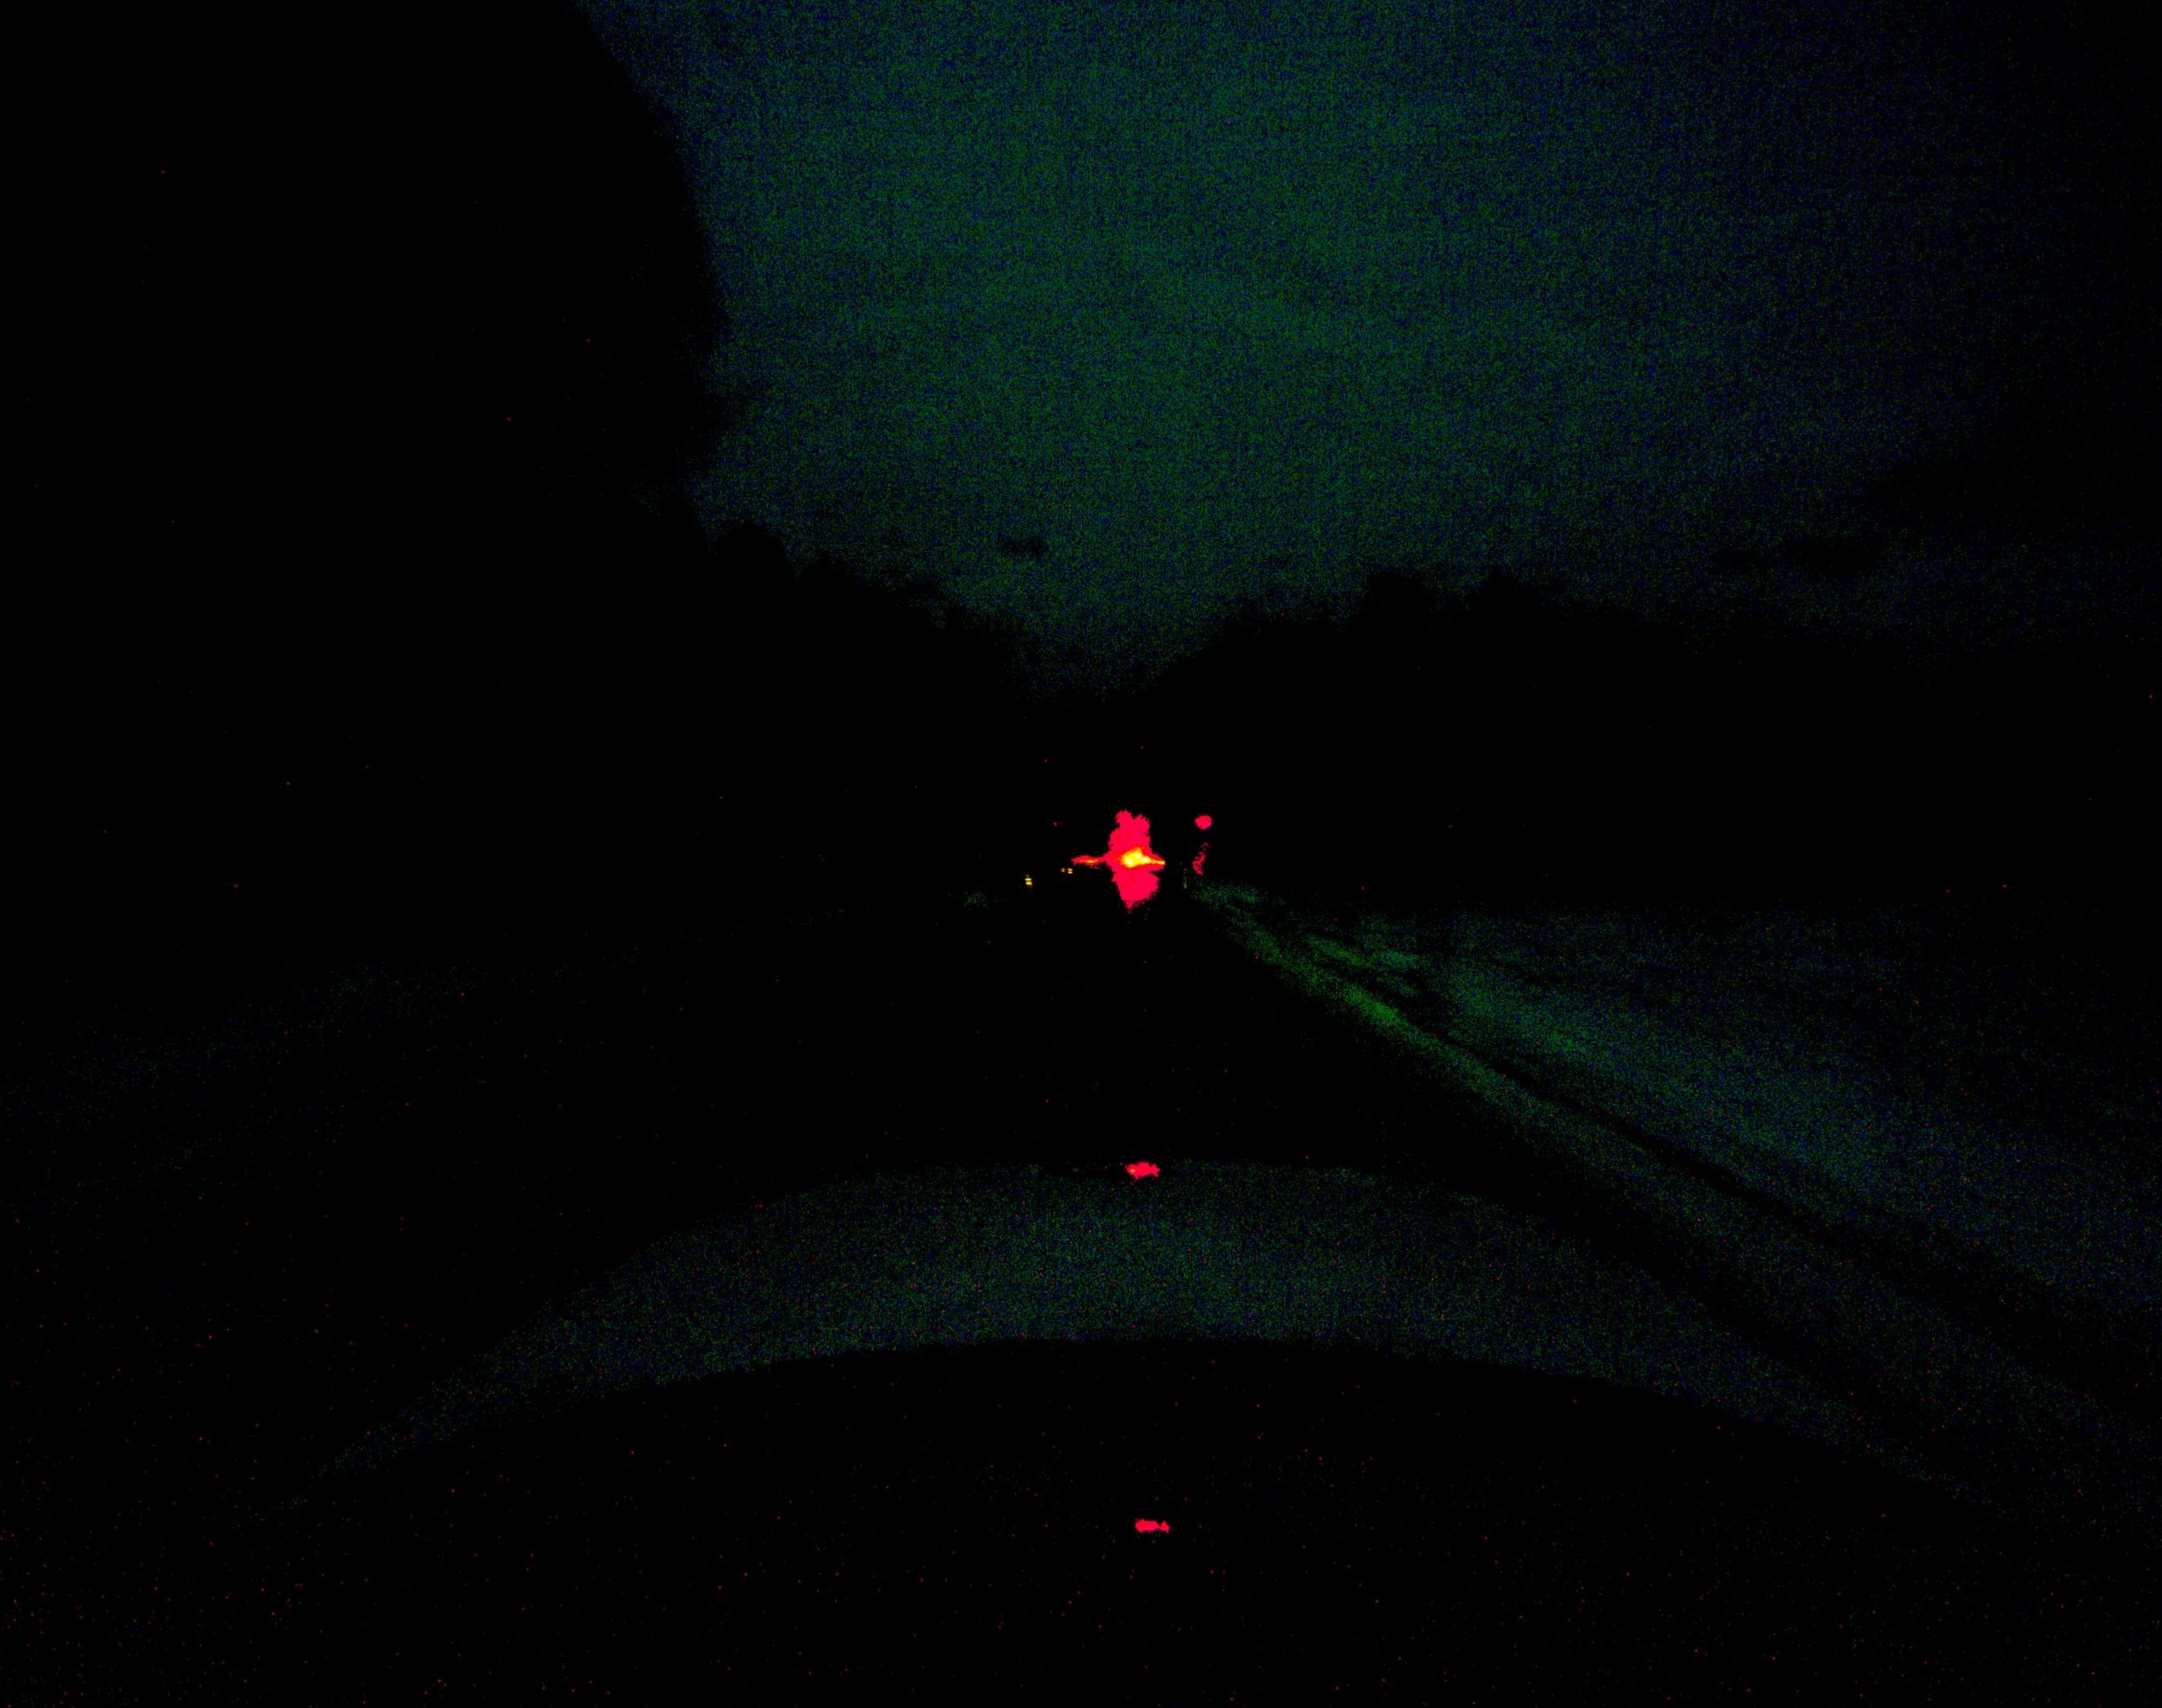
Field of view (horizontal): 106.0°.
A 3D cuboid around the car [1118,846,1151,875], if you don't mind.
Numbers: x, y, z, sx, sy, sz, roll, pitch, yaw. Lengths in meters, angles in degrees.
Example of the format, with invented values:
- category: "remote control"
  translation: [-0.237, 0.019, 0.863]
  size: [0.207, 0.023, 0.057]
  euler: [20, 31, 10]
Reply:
- category: "car"
  translation: [3.941, 0.455, 60.603]
  size: [1.989, 2.052, 3.996]
  euler: [0, 0, -2]

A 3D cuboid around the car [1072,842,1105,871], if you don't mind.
- category: "car"
  translation: [0.695, 0.240, 79.357]
  size: [2.252, 2.645, 4.990]
  euler: [-3, 0, -9]
